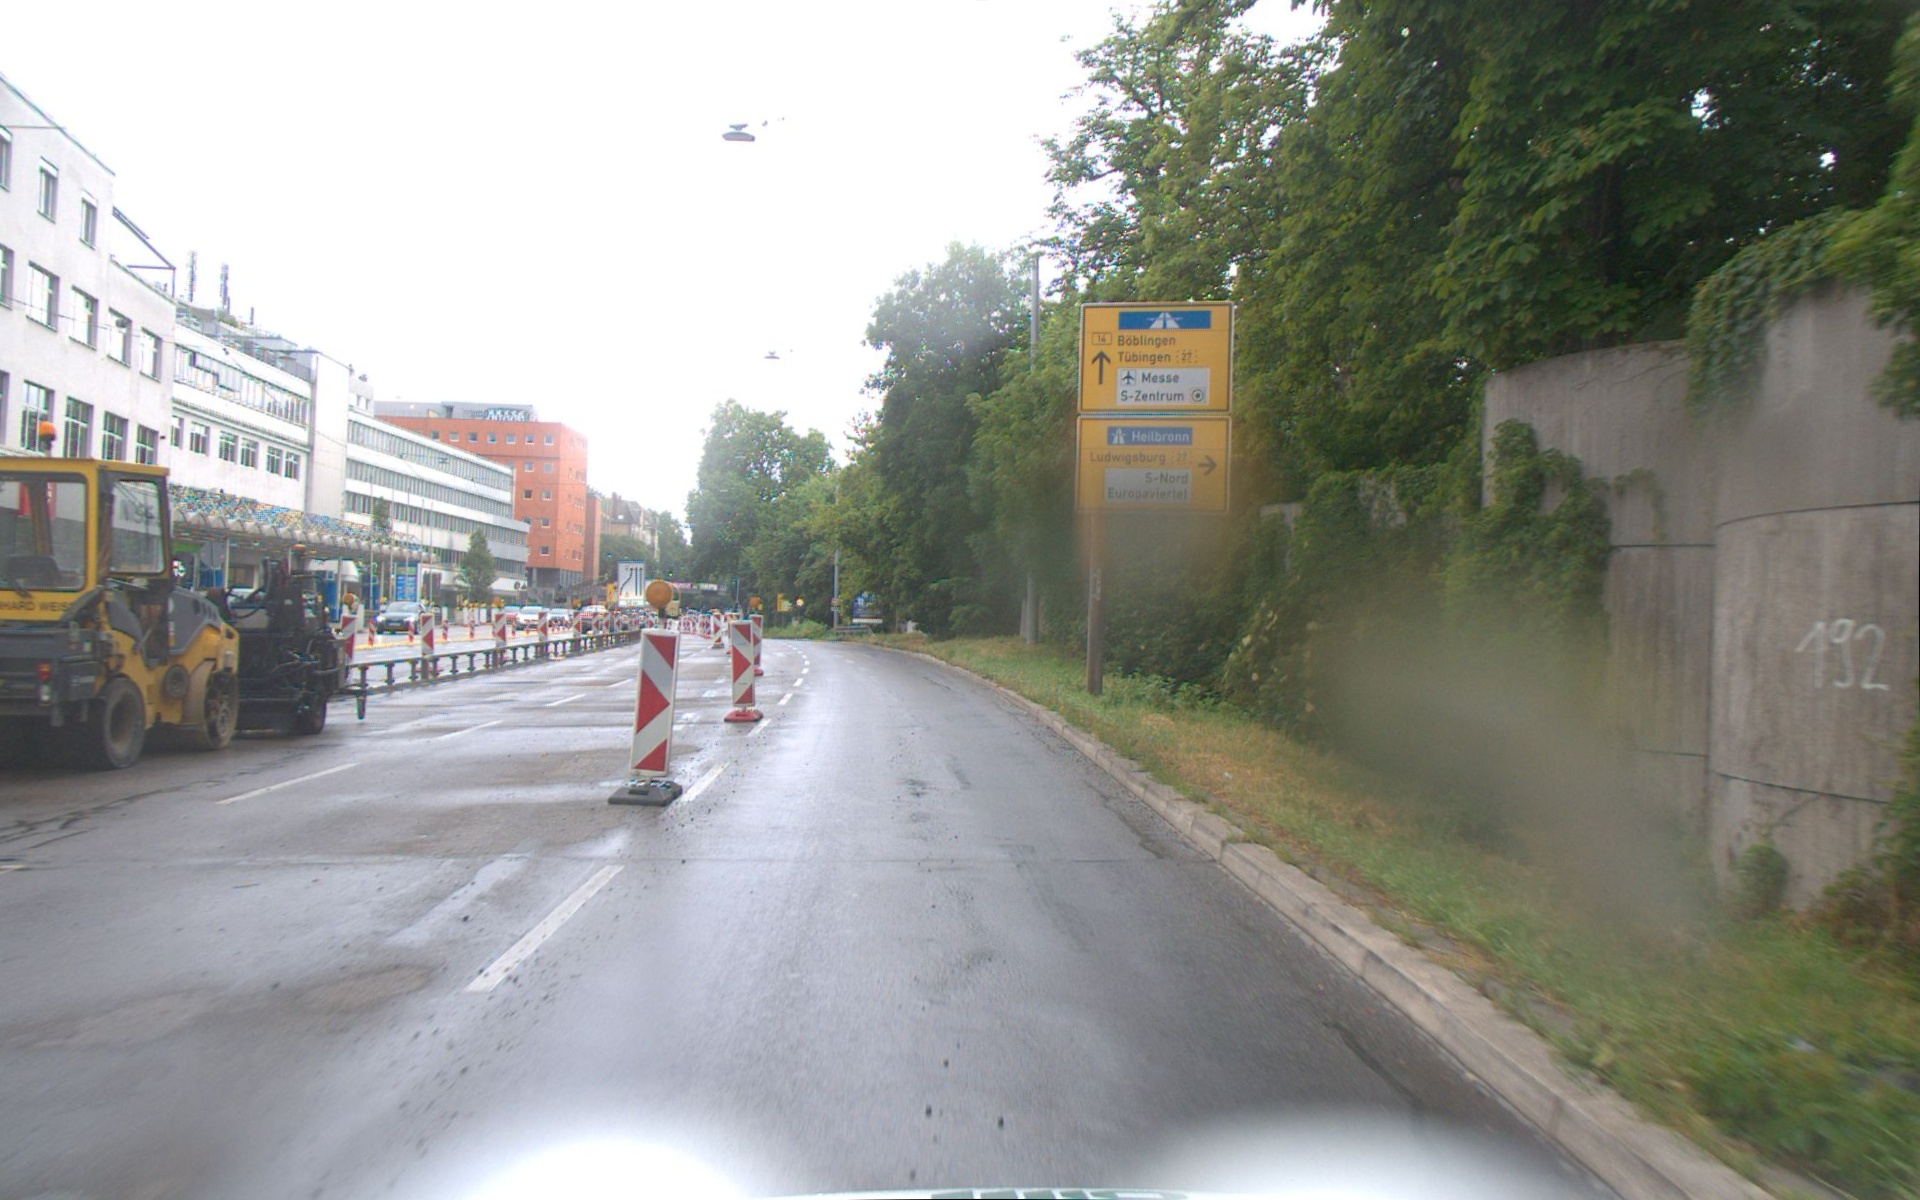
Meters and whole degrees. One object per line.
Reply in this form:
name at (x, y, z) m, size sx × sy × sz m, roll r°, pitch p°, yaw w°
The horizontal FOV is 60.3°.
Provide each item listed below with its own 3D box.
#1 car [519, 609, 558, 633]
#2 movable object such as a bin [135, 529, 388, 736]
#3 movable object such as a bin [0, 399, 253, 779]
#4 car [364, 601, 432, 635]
car at (-25.796, 1.272, 101.371) m, size 1.746 × 1.405 × 4.448 m, roll 1°, pitch 0°, yaw -7°
movable object such as a bin at (-7.996, 0.350, 19.255) m, size 1.681 × 2.187 × 3.347 m, roll 0°, pitch 0°, yaw -4°
movable object such as a bin at (-7.973, -0.084, 15.184) m, size 1.436 × 3.061 × 3.723 m, roll 0°, pitch 0°, yaw -2°
car at (-24.885, 0.790, 73.427) m, size 1.727 × 1.430 × 4.248 m, roll 1°, pitch -1°, yaw -3°
